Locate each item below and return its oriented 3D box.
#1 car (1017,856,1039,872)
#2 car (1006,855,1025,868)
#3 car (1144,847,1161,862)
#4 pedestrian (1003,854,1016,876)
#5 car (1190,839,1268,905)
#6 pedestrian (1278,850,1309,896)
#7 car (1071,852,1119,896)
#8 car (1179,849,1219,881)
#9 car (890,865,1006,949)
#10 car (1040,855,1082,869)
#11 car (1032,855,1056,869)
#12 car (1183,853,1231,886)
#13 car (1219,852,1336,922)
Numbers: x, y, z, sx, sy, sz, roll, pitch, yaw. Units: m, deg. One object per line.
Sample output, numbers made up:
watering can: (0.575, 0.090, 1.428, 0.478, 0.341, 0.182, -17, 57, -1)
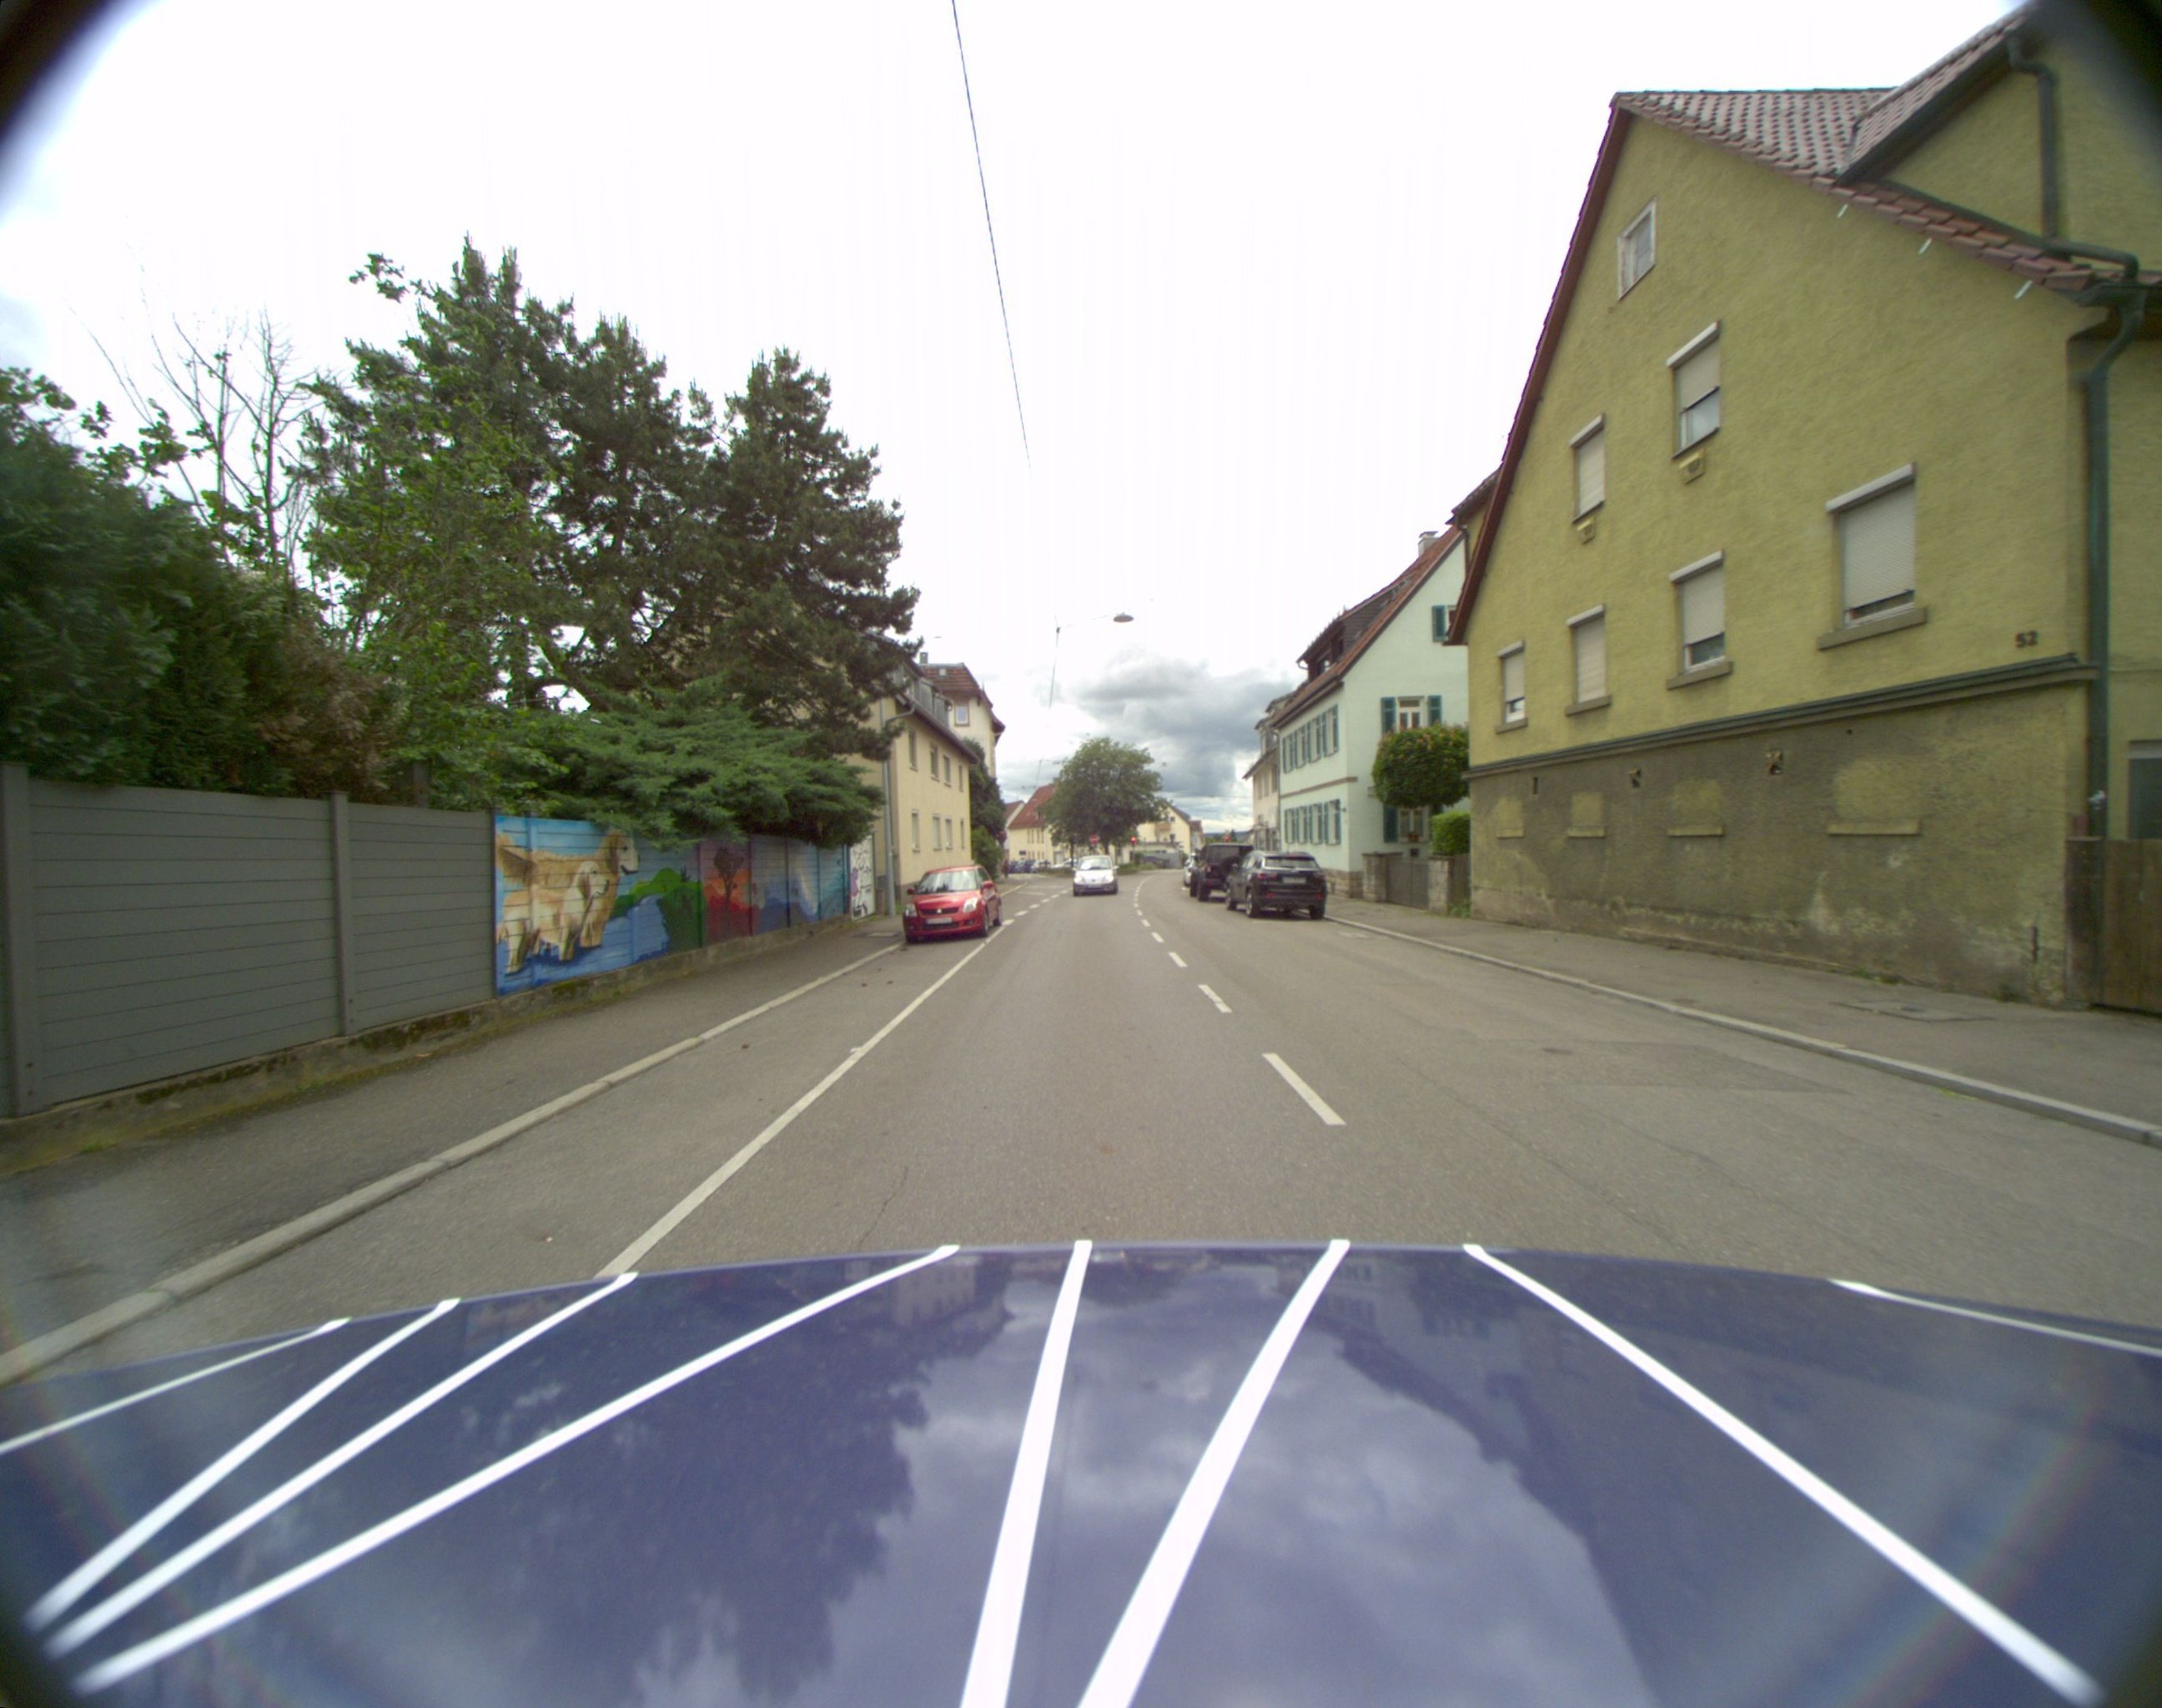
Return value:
car: (-6.971, 1.295, 99.783, 1.777, 1.931, 4.318, 1, -2, -20)
car: (-9.253, 1.042, 107.196, 1.724, 1.720, 3.995, -2, -1, -19)
car: (8.847, 0.051, 93.602, 1.749, 1.729, 4.576, 1, -1, 10)
pedestrian: (-5.786, 0.897, 61.357, 0.861, 1.722, 1.021, -3, -1, -11)
car: (4.954, 0.549, 26.037, 1.998, 2.002, 4.671, 1, 0, 4)
pedestrian: (7.244, 0.633, 25.992, 0.807, 1.491, 0.976, -3, 1, 6)
car: (0.589, 0.783, 30.292, 1.721, 1.586, 4.001, -3, -1, 2)
car: (6.469, 0.548, 41.617, 2.001, 1.623, 4.861, -2, 0, 9)
car: (-2.798, 1.071, 16.844, 1.763, 1.443, 4.000, -3, 1, 1)
car: (-2.154, 0.912, 83.831, 4.565, 1.436, 2.000, 1, 0, -1)
car: (-4.635, 1.004, 94.204, 1.776, 1.608, 3.994, -2, -1, -20)
car: (5.908, 0.700, 35.992, 2.002, 1.428, 3.920, -2, 0, 7)
car: (4.924, 0.793, 19.702, 1.901, 1.609, 4.525, 0, -1, 1)
